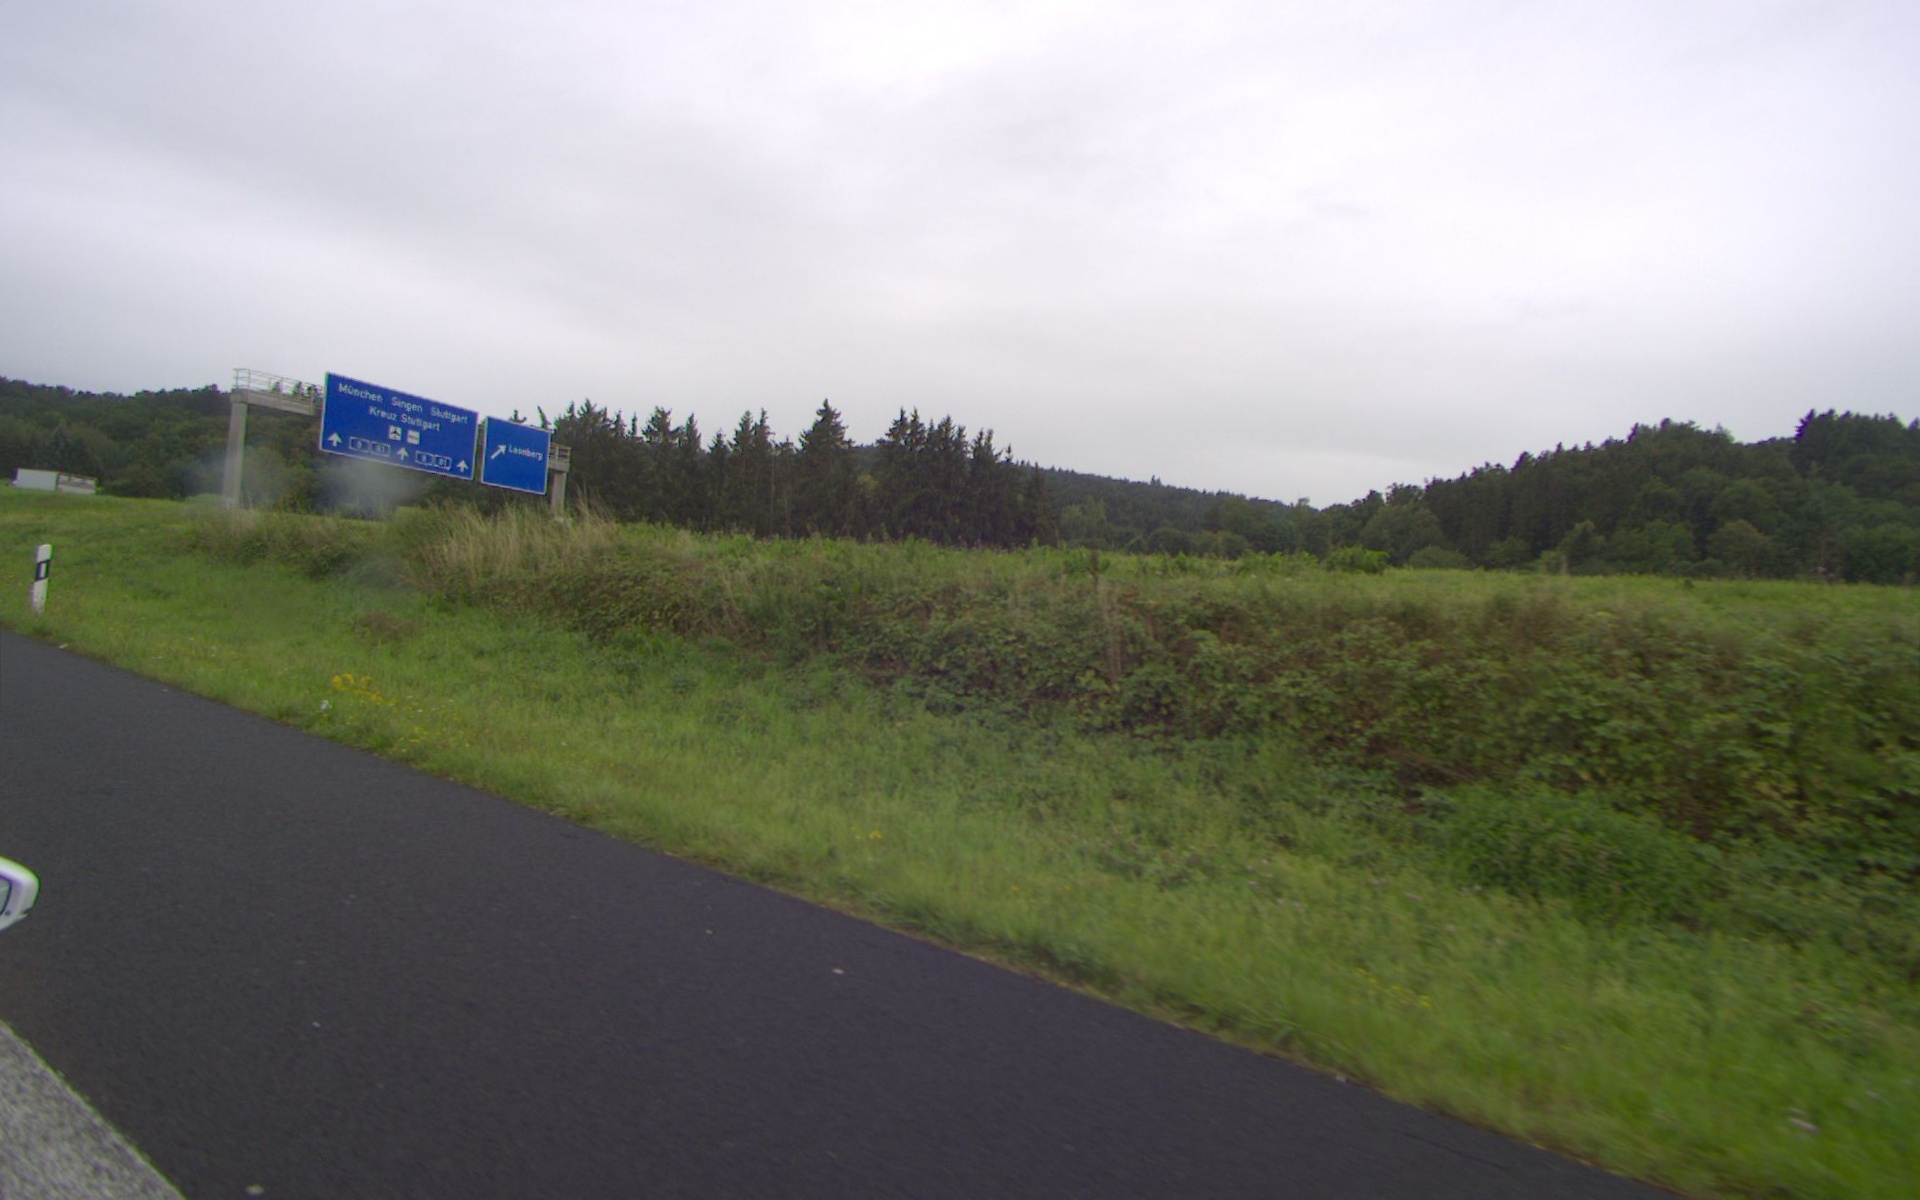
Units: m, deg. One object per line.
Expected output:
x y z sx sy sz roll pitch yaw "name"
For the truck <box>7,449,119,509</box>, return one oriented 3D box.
-72.028 -9.711 80.782 8.129 3.701 3.836 7 -2 28 "truck"
